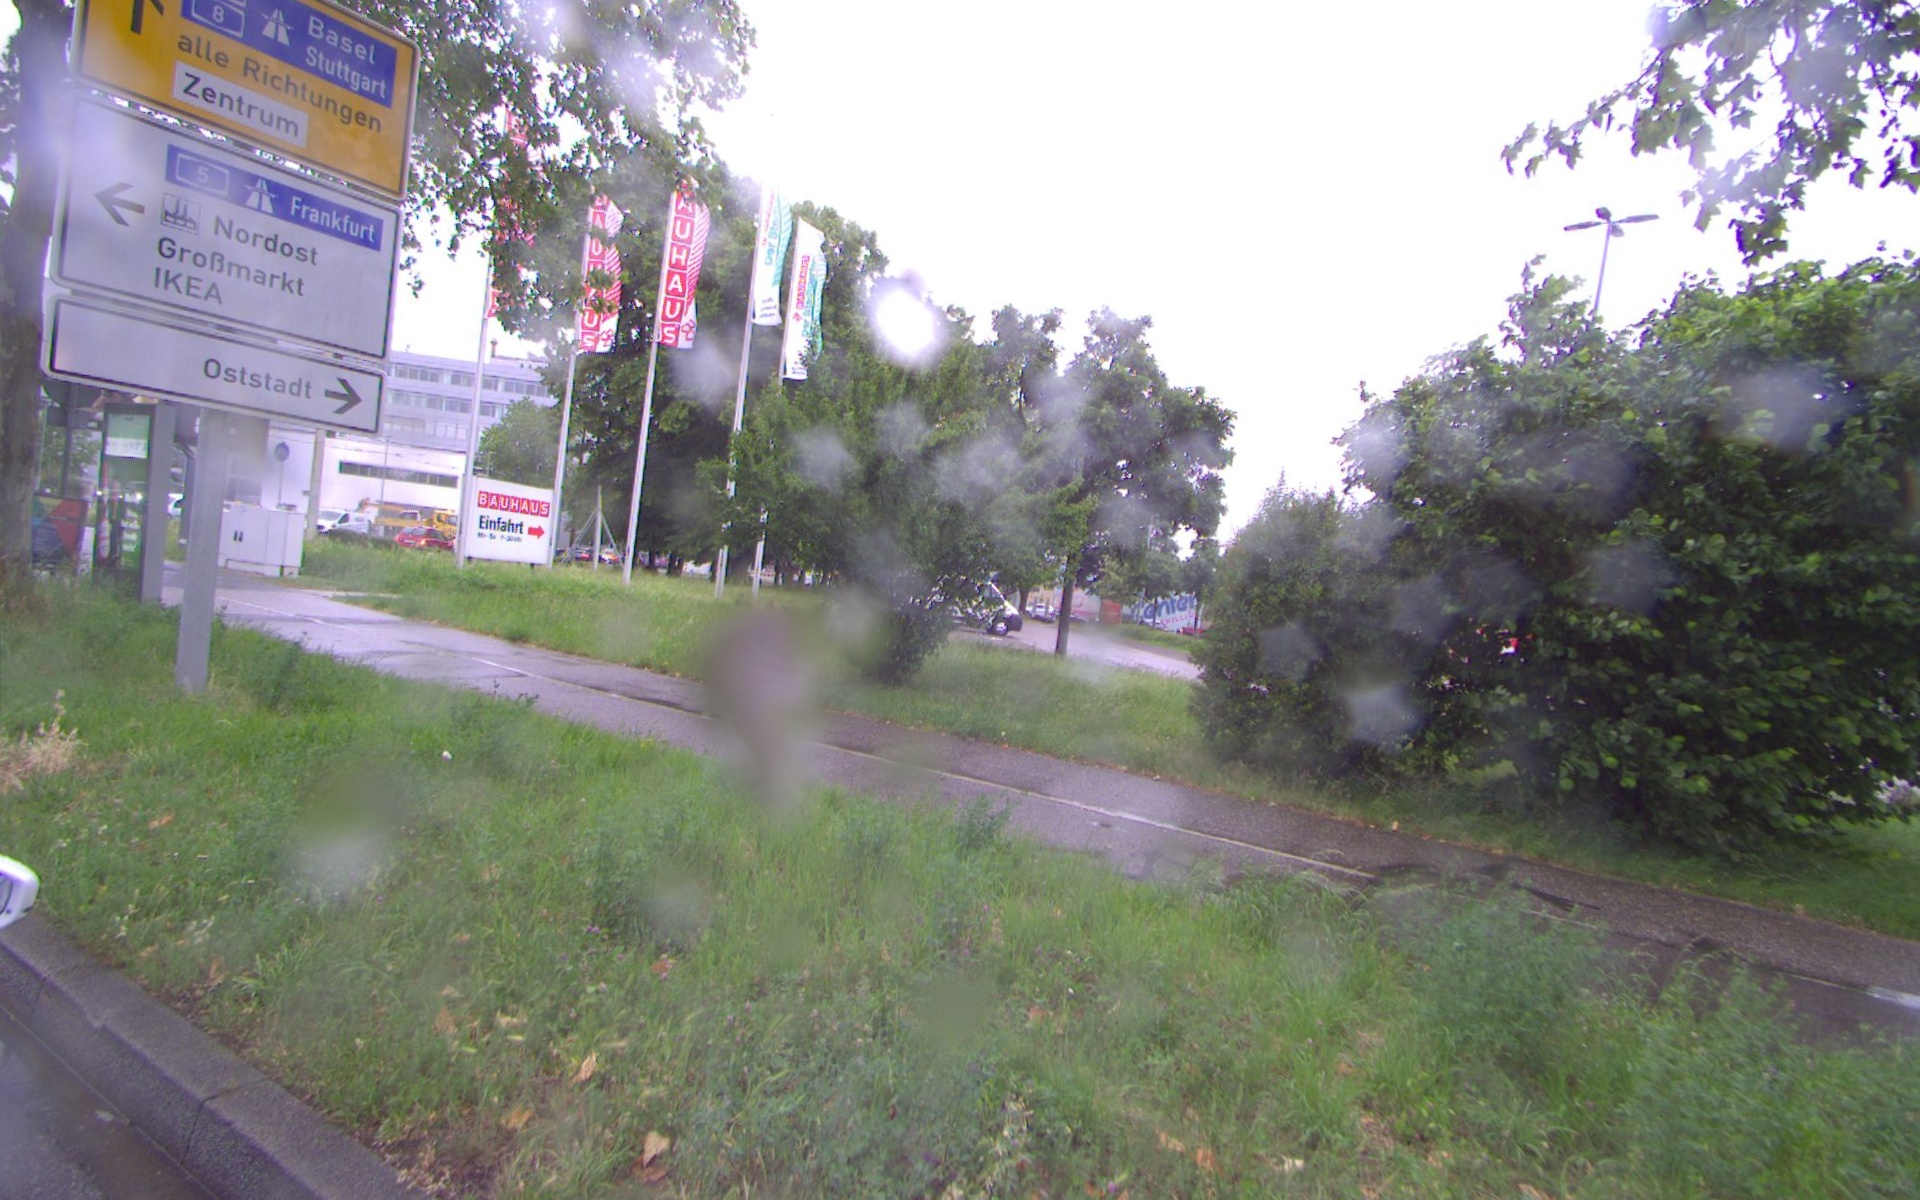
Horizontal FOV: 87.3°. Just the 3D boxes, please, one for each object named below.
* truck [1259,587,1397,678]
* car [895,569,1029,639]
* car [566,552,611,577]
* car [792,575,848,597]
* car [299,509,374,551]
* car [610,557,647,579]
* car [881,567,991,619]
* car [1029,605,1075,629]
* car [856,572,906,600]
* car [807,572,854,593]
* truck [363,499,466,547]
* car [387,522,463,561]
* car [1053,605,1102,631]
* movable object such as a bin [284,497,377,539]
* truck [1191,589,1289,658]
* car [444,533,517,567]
[{"bbox_3d":[16.704,1.336,46.402,2.508,3.513,8.008,8,0,-4],"label":"truck"},{"bbox_3d":[0.025,0.159,40.917,5.015,2.232,2.188,7,1,-9],"label":"car"},{"bbox_3d":[-28.761,-2.739,78.028,1.892,1.606,4.622,6,0,-3],"label":"car"},{"bbox_3d":[-15.419,-1.564,111.067,5.853,1.753,2.276,6,1,-3],"label":"car"},{"bbox_3d":[-39.625,-4.410,64.061,1.964,2.152,4.684,6,0,-5],"label":"car"},{"bbox_3d":[-29.337,-2.781,89.078,1.892,1.606,4.623,6,0,-4],"label":"car"},{"bbox_3d":[-1.391,-0.402,57.642,5.955,2.232,2.190,7,1,-2],"label":"car"},{"bbox_3d":[9.792,1.824,107.321,4.612,2.038,2.001,7,0,3],"label":"car"},{"bbox_3d":[-7.859,-1.428,100.591,4.670,2.241,1.964,6,1,-2],"label":"car"},{"bbox_3d":[-13.324,-1.759,103.340,4.548,1.606,1.923,7,0,-11],"label":"car"},{"bbox_3d":[-52.678,-7.414,97.332,7.747,3.552,3.325,7,1,-4],"label":"truck"},{"bbox_3d":[-27.187,-2.933,51.273,1.647,1.508,3.818,7,-1,1],"label":"car"},{"bbox_3d":[11.839,1.855,101.777,4.612,2.038,2.001,7,0,3],"label":"car"},{"bbox_3d":[-60.592,-7.898,97.008,6.601,3.034,3.324,7,1,-4],"label":"movable object such as a bin"},{"bbox_3d":[16.523,1.336,60.270,2.507,3.511,9.397,8,0,-2],"label":"truck"},{"bbox_3d":[-27.806,-2.865,58.539,1.892,1.509,4.828,6,0,-2],"label":"car"}]
